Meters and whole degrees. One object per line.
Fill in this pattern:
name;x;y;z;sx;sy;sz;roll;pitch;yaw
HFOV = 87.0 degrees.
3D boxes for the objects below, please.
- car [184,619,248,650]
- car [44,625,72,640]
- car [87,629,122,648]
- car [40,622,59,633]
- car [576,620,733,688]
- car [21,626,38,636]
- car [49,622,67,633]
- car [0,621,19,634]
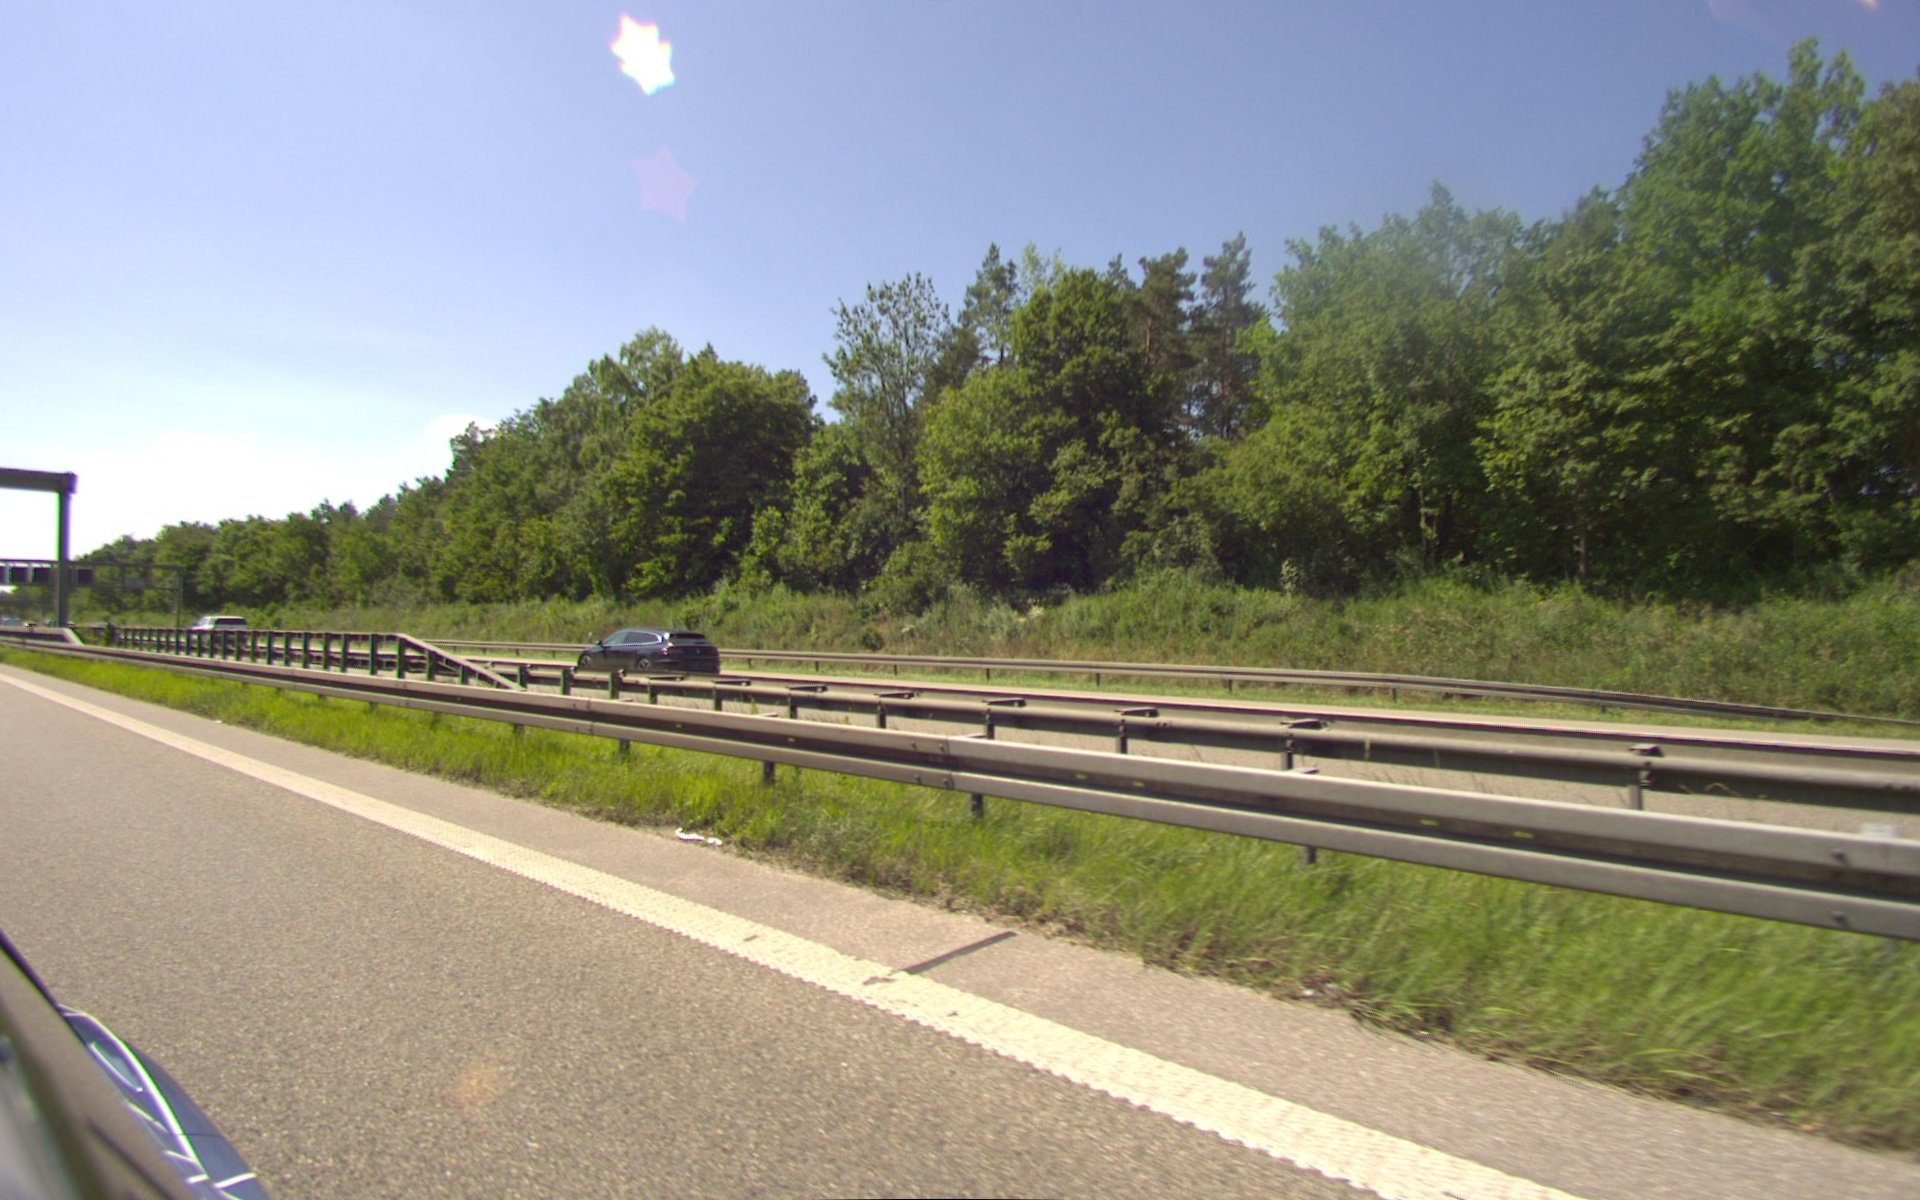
car;-41.511;1.914;56.422;5.538;1.646;1.758;-1;-4;42
car;-90.719;3.300;101.779;3.540;1.453;1.578;-1;-4;41
car;-69.813;3.161;82.601;3.540;1.453;1.578;-1;-4;41
car;-123.312;3.743;137.022;3.387;1.506;1.522;-1;-2;41
car;-7.823;1.343;25.715;4.428;1.580;1.738;-1;-4;42
car;-141.146;4.719;153.518;3.397;1.482;1.485;-1;-2;41
car;-120.137;3.635;134.807;2.724;1.372;1.423;-1;-2;41
car;-126.860;3.609;134.752;3.794;1.724;1.924;-1;-2;41
